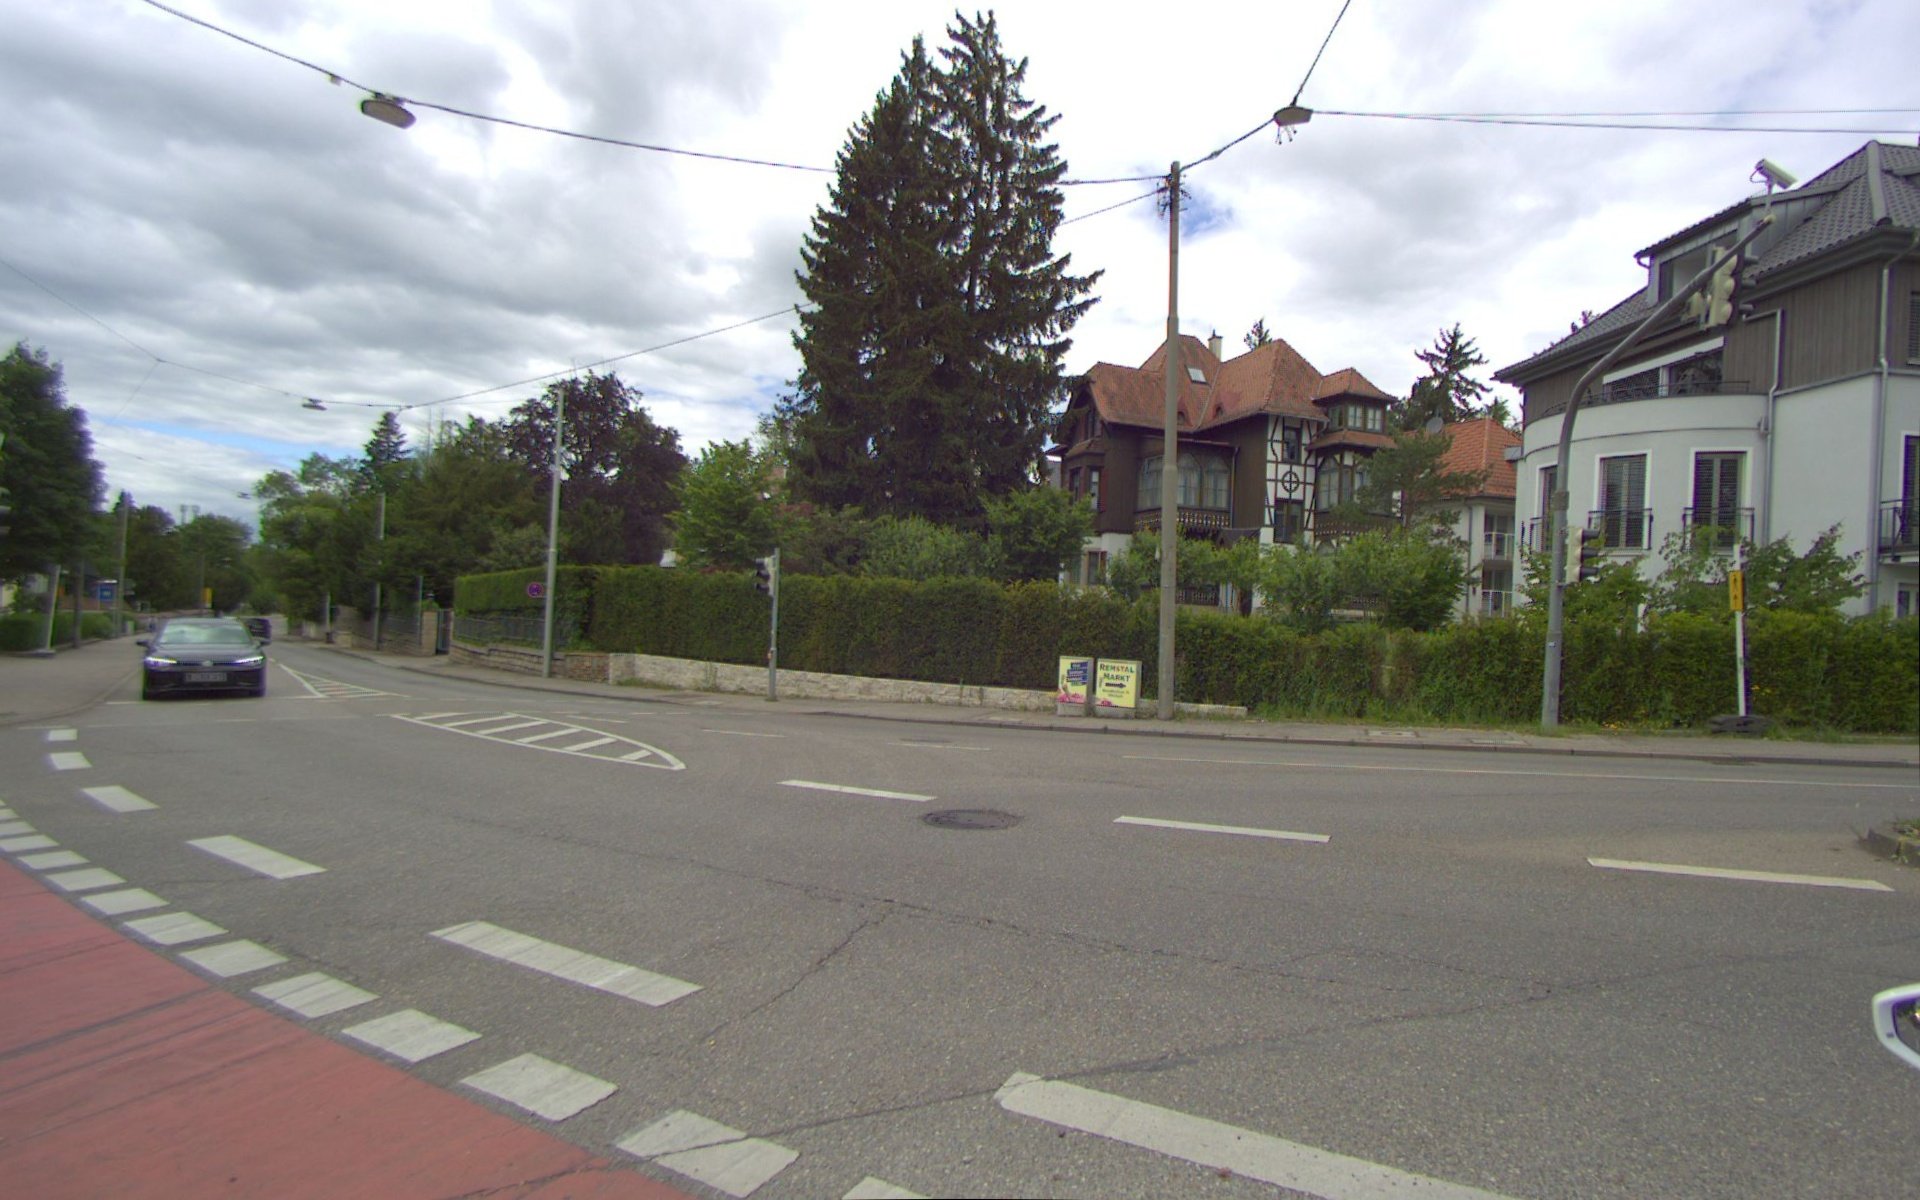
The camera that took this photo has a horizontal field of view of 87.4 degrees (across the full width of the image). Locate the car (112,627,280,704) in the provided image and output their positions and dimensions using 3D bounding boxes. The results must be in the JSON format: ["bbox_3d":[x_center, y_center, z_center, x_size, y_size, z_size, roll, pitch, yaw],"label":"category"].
[{"bbox_3d":[-14.732,1.206,19.296,3.946,1.260,1.988,0,-3,45],"label":"car"}]

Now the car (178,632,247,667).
[{"bbox_3d":[-30.392,1.982,40.801,1.984,1.216,3.953,2,-1,-40],"label":"car"}]
